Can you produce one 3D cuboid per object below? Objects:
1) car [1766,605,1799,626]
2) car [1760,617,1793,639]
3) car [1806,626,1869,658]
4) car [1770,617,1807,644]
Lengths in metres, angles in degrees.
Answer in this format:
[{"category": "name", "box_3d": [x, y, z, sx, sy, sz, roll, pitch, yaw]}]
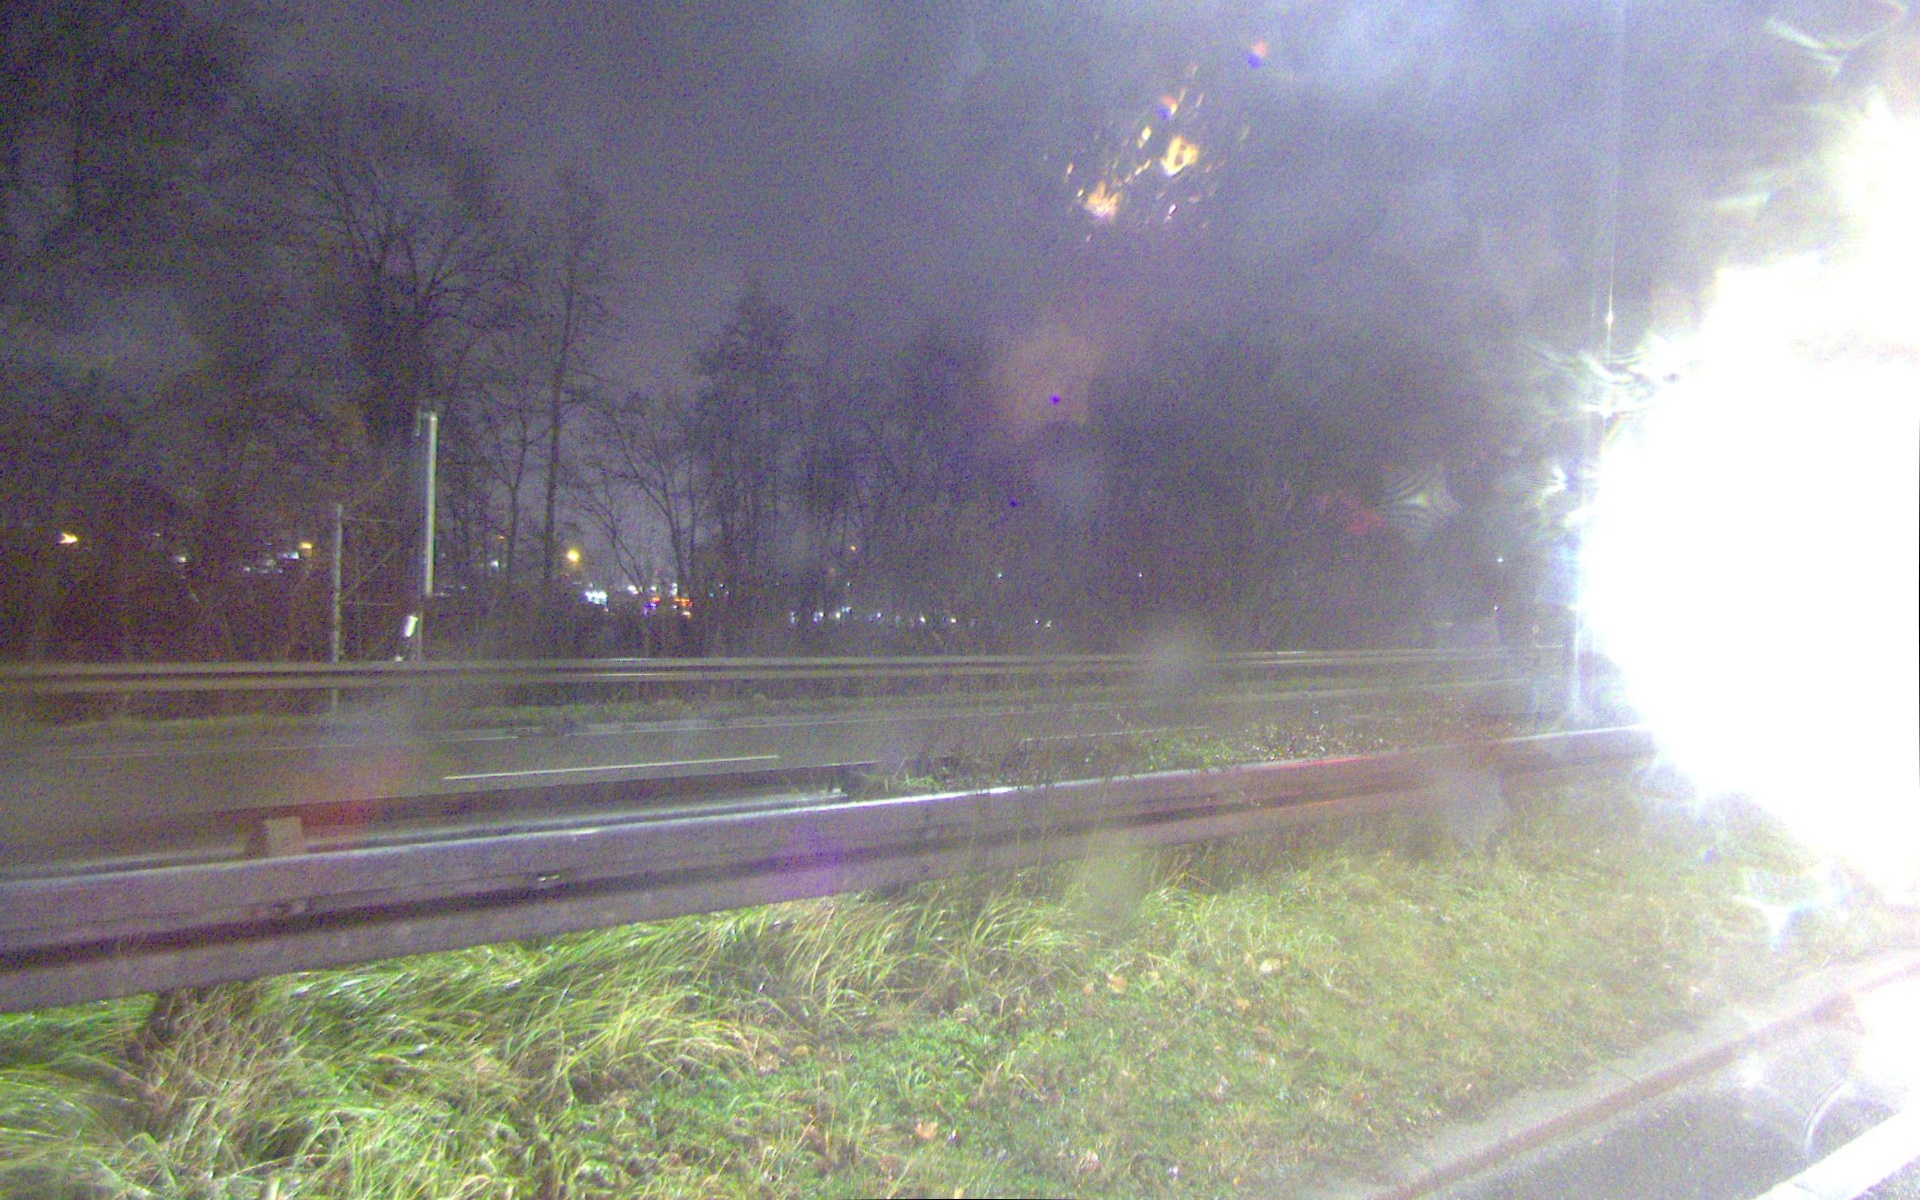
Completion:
[{"category": "car", "box_3d": [59.579, 1.135, 72.828, 1.605, 1.387, 3.710, 2, 0, 36]}, {"category": "car", "box_3d": [65.416, 2.225, 80.509, 1.742, 1.653, 4.236, 1, 0, 35]}, {"category": "car", "box_3d": [43.849, 2.073, 50.158, 4.807, 1.528, 1.974, 2, -1, -44]}, {"category": "car", "box_3d": [55.616, 2.036, 67.447, 1.736, 1.762, 3.984, 2, 0, 38]}]
